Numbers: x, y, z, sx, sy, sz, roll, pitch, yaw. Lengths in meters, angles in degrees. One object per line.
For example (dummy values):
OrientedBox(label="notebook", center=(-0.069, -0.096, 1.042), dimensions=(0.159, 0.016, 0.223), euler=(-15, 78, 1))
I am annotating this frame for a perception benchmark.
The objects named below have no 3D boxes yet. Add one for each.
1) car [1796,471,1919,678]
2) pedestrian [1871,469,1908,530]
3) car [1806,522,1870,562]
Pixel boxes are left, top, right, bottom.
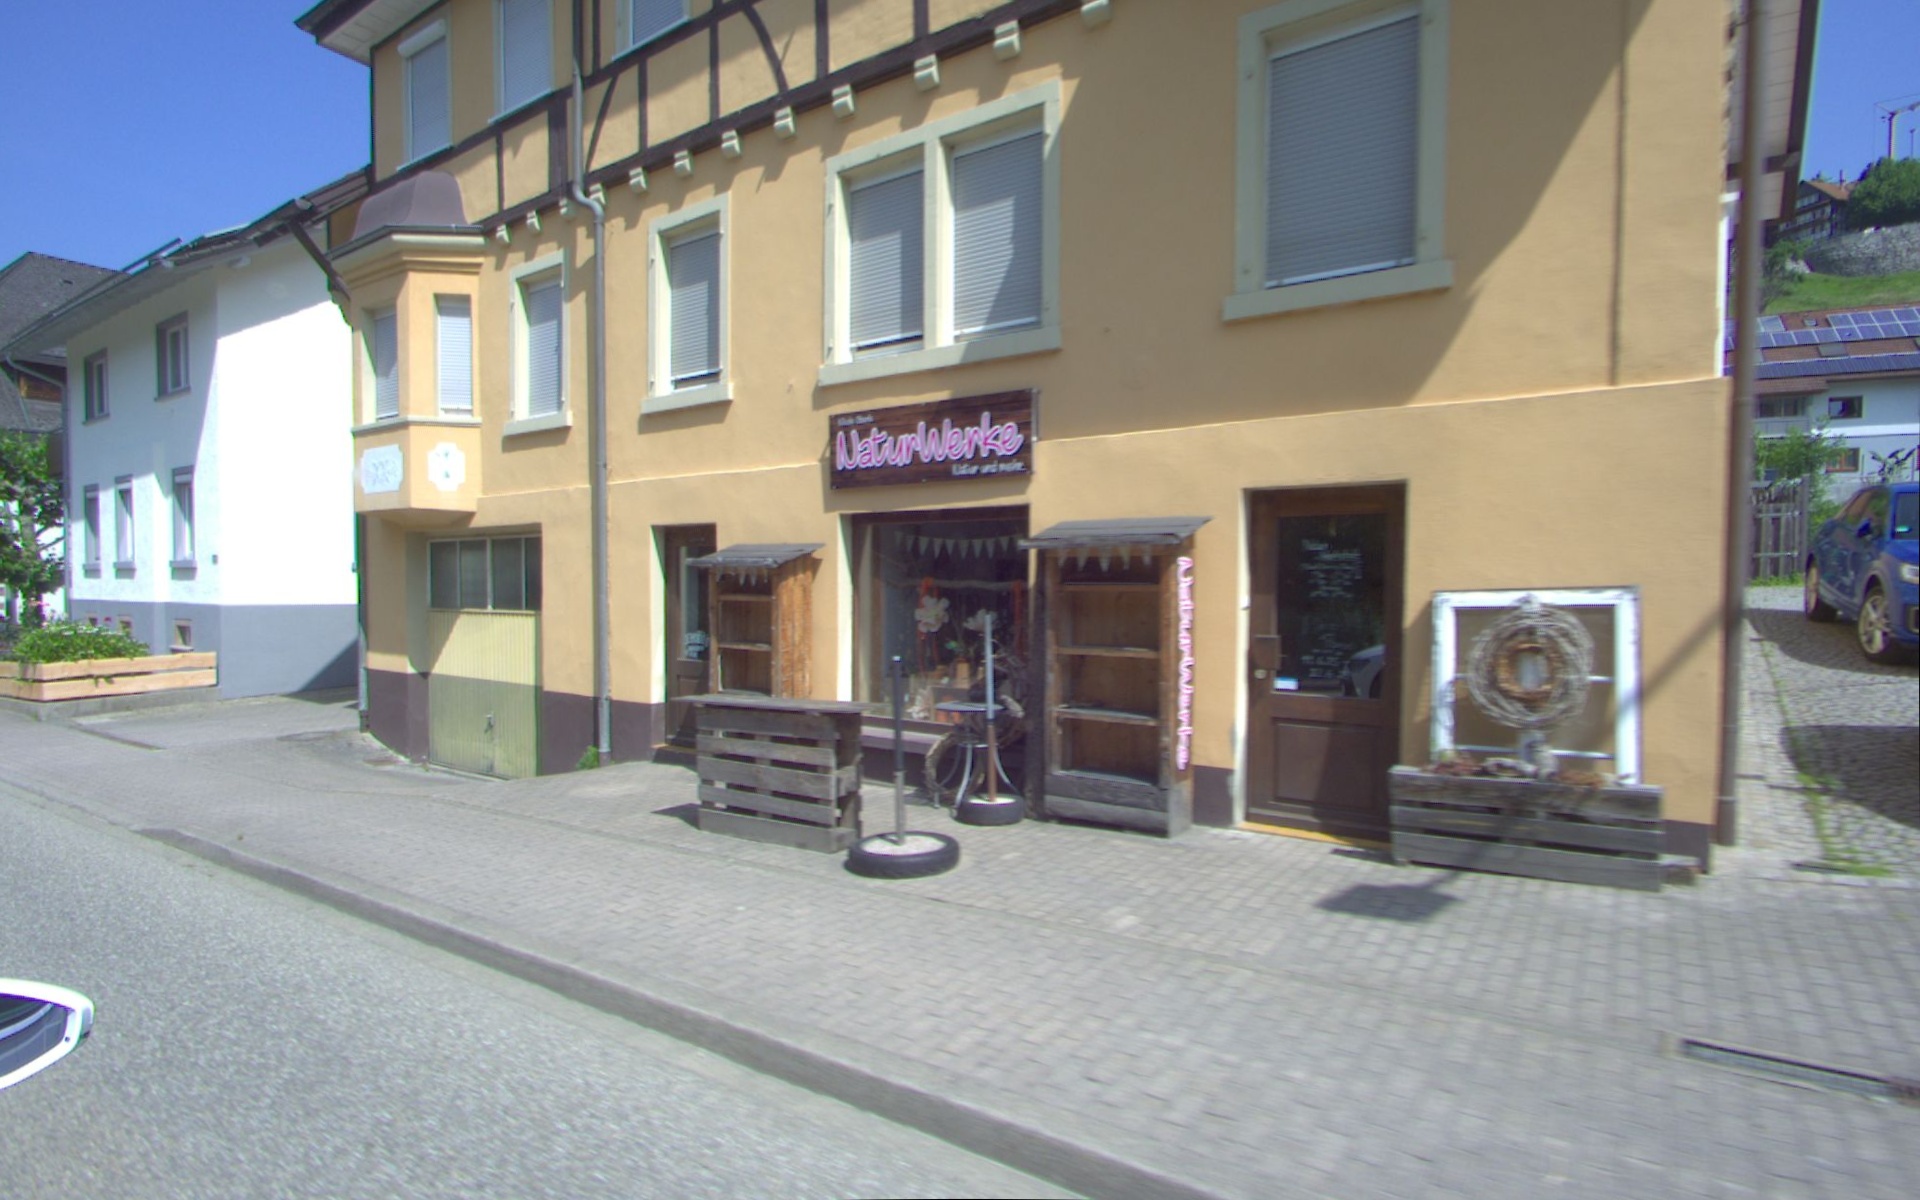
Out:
OrientedBox(label="car", center=(9.214, -0.352, 9.238), dimensions=(1.710, 1.648, 3.911), euler=(-1, 4, 31))
OrientedBox(label="pedestrian", center=(39.084, -4.223, 42.111), dimensions=(0.811, 2.465, 0.826), euler=(-4, 3, 4))
OrientedBox(label="car", center=(34.449, -2.307, 39.331), dimensions=(1.325, 1.389, 3.194), euler=(-2, 3, 31))
